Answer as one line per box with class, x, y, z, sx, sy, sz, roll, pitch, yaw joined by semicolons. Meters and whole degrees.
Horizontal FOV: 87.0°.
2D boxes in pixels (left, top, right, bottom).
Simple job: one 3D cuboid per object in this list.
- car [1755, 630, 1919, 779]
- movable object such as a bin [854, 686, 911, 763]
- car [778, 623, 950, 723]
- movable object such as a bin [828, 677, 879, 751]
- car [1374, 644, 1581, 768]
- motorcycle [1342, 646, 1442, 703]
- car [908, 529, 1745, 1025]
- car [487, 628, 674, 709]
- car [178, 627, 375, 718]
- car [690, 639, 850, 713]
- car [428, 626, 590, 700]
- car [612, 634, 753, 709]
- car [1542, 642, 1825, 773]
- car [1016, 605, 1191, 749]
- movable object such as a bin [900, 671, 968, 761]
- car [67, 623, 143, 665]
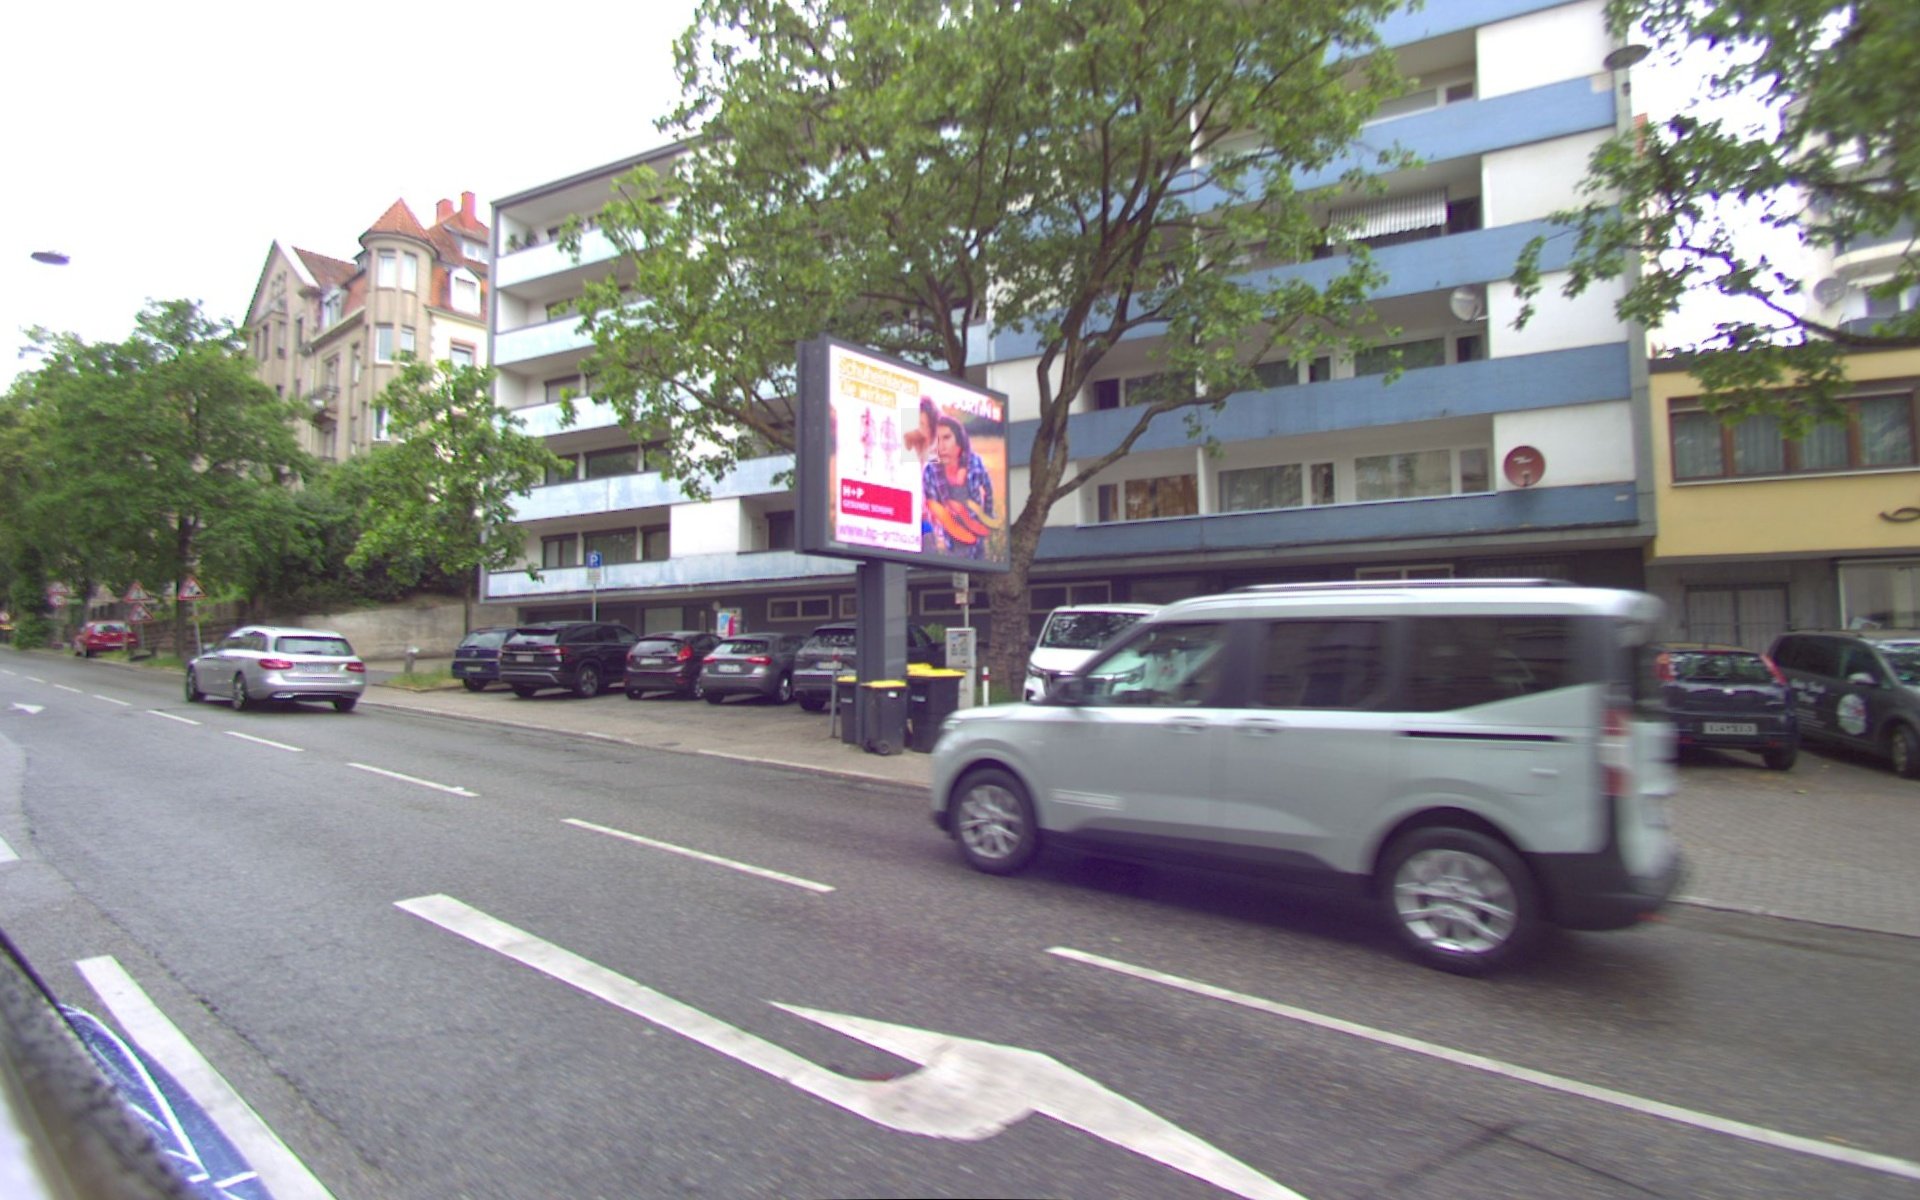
car;11.777;1.186;11.986;1.920;1.655;4.202;0;-2;11
movable object such as a bin;-0.983;1.569;12.871;0.545;0.908;0.479;-1;-3;37
car;-1.729;1.345;19.585;1.794;1.702;3.808;0;-2;21
movable object such as a bin;-1.474;1.571;14.033;0.511;0.971;0.479;-1;-3;37
car;7.060;1.361;14.227;1.795;1.426;3.687;-1;-2;15
motorcycle;9.433;1.598;22.121;1.953;1.176;0.697;-1;-3;30
car;1.888;0.800;5.967;4.239;1.896;1.795;-2;-7;40
car;-8.480;1.474;23.068;1.795;1.605;4.289;0;-1;16
car;-12.451;1.288;18.341;4.321;1.459;1.709;-1;-6;39
car;-3.903;1.532;21.444;1.678;1.416;3.811;-1;-2;19
car;-10.952;1.477;24.889;1.753;1.543;3.821;0;0;12
car;-6.144;1.536;22.848;1.662;1.416;3.825;0;0;9
car;9.275;1.294;13.353;1.613;1.426;3.610;0;-2;11
car;2.524;1.138;16.623;1.866;1.992;4.943;-1;-2;20
movable object such as a bin;-0.333;1.486;13.131;0.627;1.088;0.635;-1;-3;37
car;-34.393;1.764;40.661;3.885;1.518;1.729;-2;-6;42
